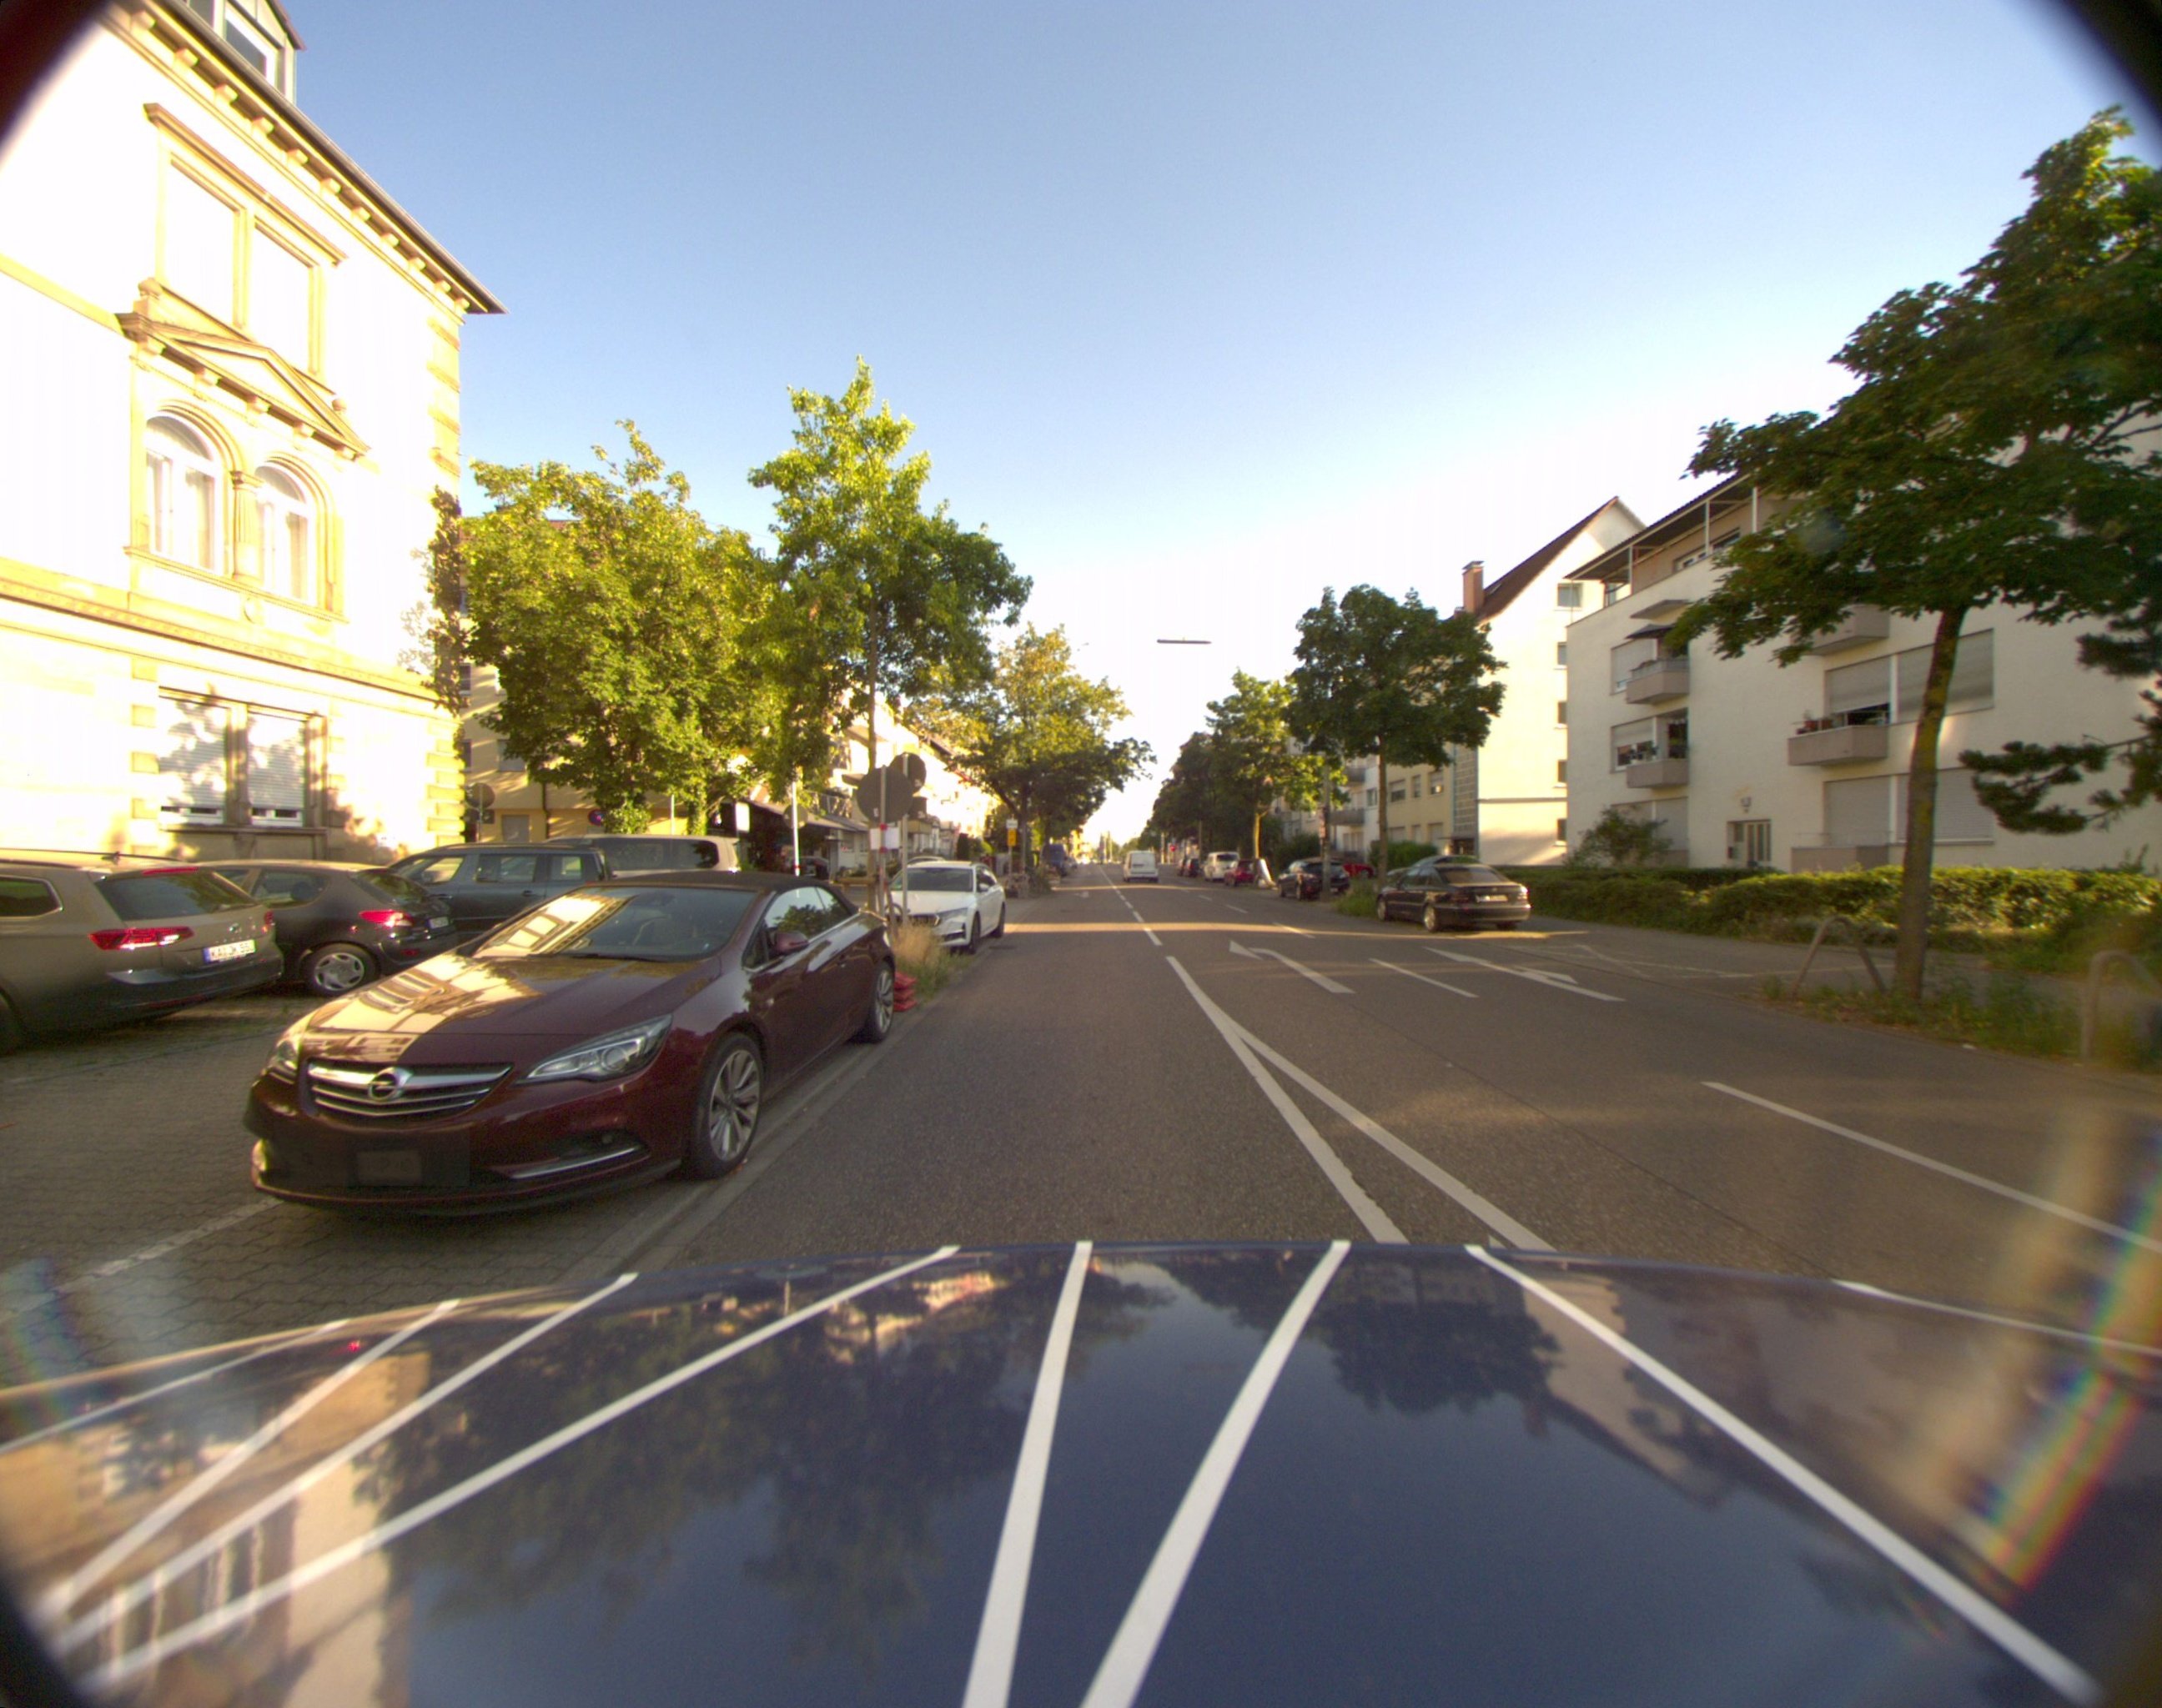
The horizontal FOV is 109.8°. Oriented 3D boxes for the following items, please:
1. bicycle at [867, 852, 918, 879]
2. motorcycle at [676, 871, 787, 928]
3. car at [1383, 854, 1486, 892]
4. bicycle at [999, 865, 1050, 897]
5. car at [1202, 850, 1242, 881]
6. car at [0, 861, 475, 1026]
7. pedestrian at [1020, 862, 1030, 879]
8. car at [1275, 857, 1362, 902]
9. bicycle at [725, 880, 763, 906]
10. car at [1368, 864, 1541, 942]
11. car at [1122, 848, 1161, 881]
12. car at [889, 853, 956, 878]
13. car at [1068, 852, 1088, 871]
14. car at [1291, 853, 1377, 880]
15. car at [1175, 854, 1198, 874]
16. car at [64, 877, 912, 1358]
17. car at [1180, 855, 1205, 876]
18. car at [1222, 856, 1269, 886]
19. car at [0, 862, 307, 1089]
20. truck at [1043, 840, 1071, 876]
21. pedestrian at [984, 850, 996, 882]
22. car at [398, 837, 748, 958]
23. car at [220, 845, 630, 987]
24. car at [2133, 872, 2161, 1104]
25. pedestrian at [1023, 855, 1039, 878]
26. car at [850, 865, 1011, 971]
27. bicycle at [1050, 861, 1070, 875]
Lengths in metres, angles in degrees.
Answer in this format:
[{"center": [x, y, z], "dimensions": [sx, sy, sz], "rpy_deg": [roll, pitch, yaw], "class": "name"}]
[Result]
[{"center": [-10.040, 0.602, 40.541], "dimensions": [2.459, 1.433, 0.928], "rpy_deg": [0, 1, -1], "class": "bicycle"}, {"center": [-7.982, 1.021, 17.458], "dimensions": [2.163, 1.232, 0.789], "rpy_deg": [0, 1, -9], "class": "motorcycle"}, {"center": [14.402, 0.762, 31.091], "dimensions": [3.467, 1.515, 1.686], "rpy_deg": [0, 0, 2], "class": "car"}, {"center": [-2.204, 1.044, 29.568], "dimensions": [1.894, 1.155, 0.616], "rpy_deg": [2, 1, 28], "class": "bicycle"}, {"center": [8.699, 0.672, 47.036], "dimensions": [1.740, 1.799, 4.192], "rpy_deg": [0, 0, 1], "class": "car"}, {"center": [-9.164, 0.843, 7.920], "dimensions": [4.105, 1.432, 1.713], "rpy_deg": [2, 0, -22], "class": "car"}, {"center": [-3.561, 1.053, 48.139], "dimensions": [0.553, 1.053, 0.532], "rpy_deg": [0, 1, 2], "class": "pedestrian"}, {"center": [8.439, 0.866, 27.346], "dimensions": [1.862, 1.477, 4.000], "rpy_deg": [0, 0, 0], "class": "car"}, {"center": [-10.834, 1.248, 24.456], "dimensions": [0.486, 0.763, 1.531], "rpy_deg": [0, 0, 2], "class": "bicycle"}, {"center": [7.946, 0.957, 16.664], "dimensions": [1.641, 1.399, 4.444], "rpy_deg": [0, 0, 0], "class": "car"}, {"center": [3.519, 0.595, 44.981], "dimensions": [1.893, 1.793, 4.430], "rpy_deg": [2, 0, -1], "class": "car"}, {"center": [-9.700, 0.710, 46.673], "dimensions": [3.878, 1.496, 1.575], "rpy_deg": [0, 0, -4], "class": "car"}, {"center": [-0.288, 0.705, 71.053], "dimensions": [1.704, 1.739, 4.000], "rpy_deg": [0, 0, 2], "class": "car"}, {"center": [15.039, 0.706, 45.282], "dimensions": [4.563, 1.397, 1.739], "rpy_deg": [-2, 1, -9], "class": "car"}, {"center": [8.663, 0.794, 62.501], "dimensions": [1.407, 1.456, 3.683], "rpy_deg": [-2, 1, 2], "class": "car"}, {"center": [-2.510, 0.958, 4.858], "dimensions": [1.761, 1.412, 4.614], "rpy_deg": [2, 0, 0], "class": "car"}, {"center": [8.497, 0.855, 58.176], "dimensions": [1.407, 1.397, 3.683], "rpy_deg": [-2, 1, 2], "class": "car"}, {"center": [8.583, 0.852, 40.005], "dimensions": [1.740, 1.455, 3.636], "rpy_deg": [0, 0, 1], "class": "car"}, {"center": [-9.024, 0.820, 5.620], "dimensions": [4.255, 1.502, 1.789], "rpy_deg": [1, 0, -17], "class": "car"}, {"center": [-1.829, 0.299, 59.765], "dimensions": [1.998, 2.629, 5.616], "rpy_deg": [0, 0, 1], "class": "truck"}, {"center": [-5.145, 0.687, 42.909], "dimensions": [0.619, 1.761, 0.562], "rpy_deg": [0, 0, 2], "class": "pedestrian"}, {"center": [-8.817, 0.659, 13.776], "dimensions": [4.946, 1.888, 1.916], "rpy_deg": [0, 0, -28], "class": "car"}, {"center": [-8.804, 0.745, 10.753], "dimensions": [4.106, 1.689, 1.783], "rpy_deg": [0, 0, -29], "class": "car"}, {"center": [8.025, 0.897, 3.850], "dimensions": [1.577, 1.546, 2.749], "rpy_deg": [0, 0, 0], "class": "car"}, {"center": [-3.083, 0.773, 46.842], "dimensions": [0.917, 1.435, 0.811], "rpy_deg": [0, 1, -1], "class": "pedestrian"}, {"center": [-2.407, 0.969, 13.384], "dimensions": [1.825, 1.469, 4.621], "rpy_deg": [0, 0, 1], "class": "car"}, {"center": [-1.553, 1.050, 56.196], "dimensions": [1.469, 1.058, 0.445], "rpy_deg": [0, 1, 1], "class": "bicycle"}]
